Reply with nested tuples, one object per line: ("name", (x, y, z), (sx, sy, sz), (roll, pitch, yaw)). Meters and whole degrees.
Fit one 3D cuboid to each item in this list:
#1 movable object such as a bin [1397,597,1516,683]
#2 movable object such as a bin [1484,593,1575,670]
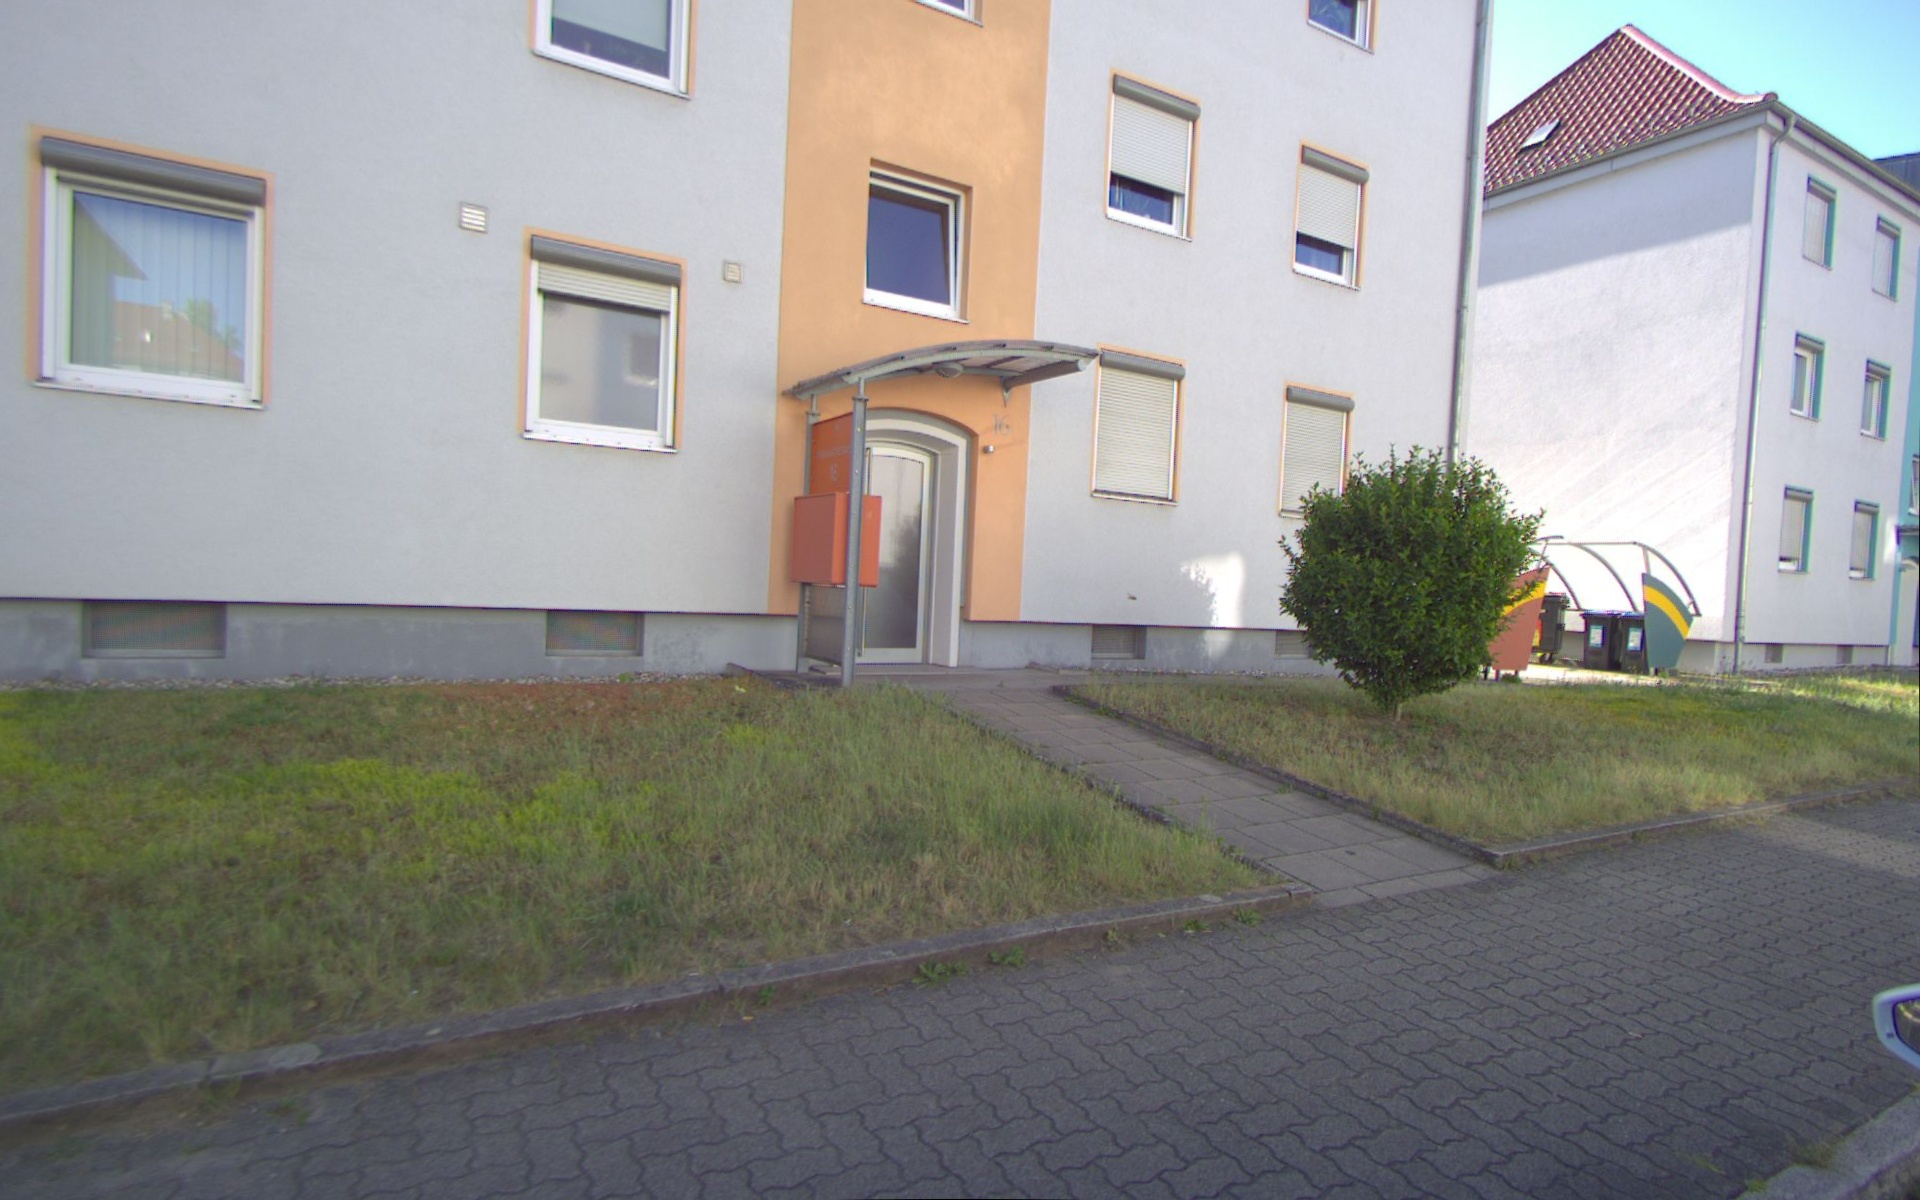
("movable object such as a bin", (7.562, 0.586, 15.340), (0.899, 1.184, 1.307), (1, 2, -30))
("movable object such as a bin", (10.891, 0.590, 19.213), (0.899, 1.374, 1.239), (1, 2, -41))
